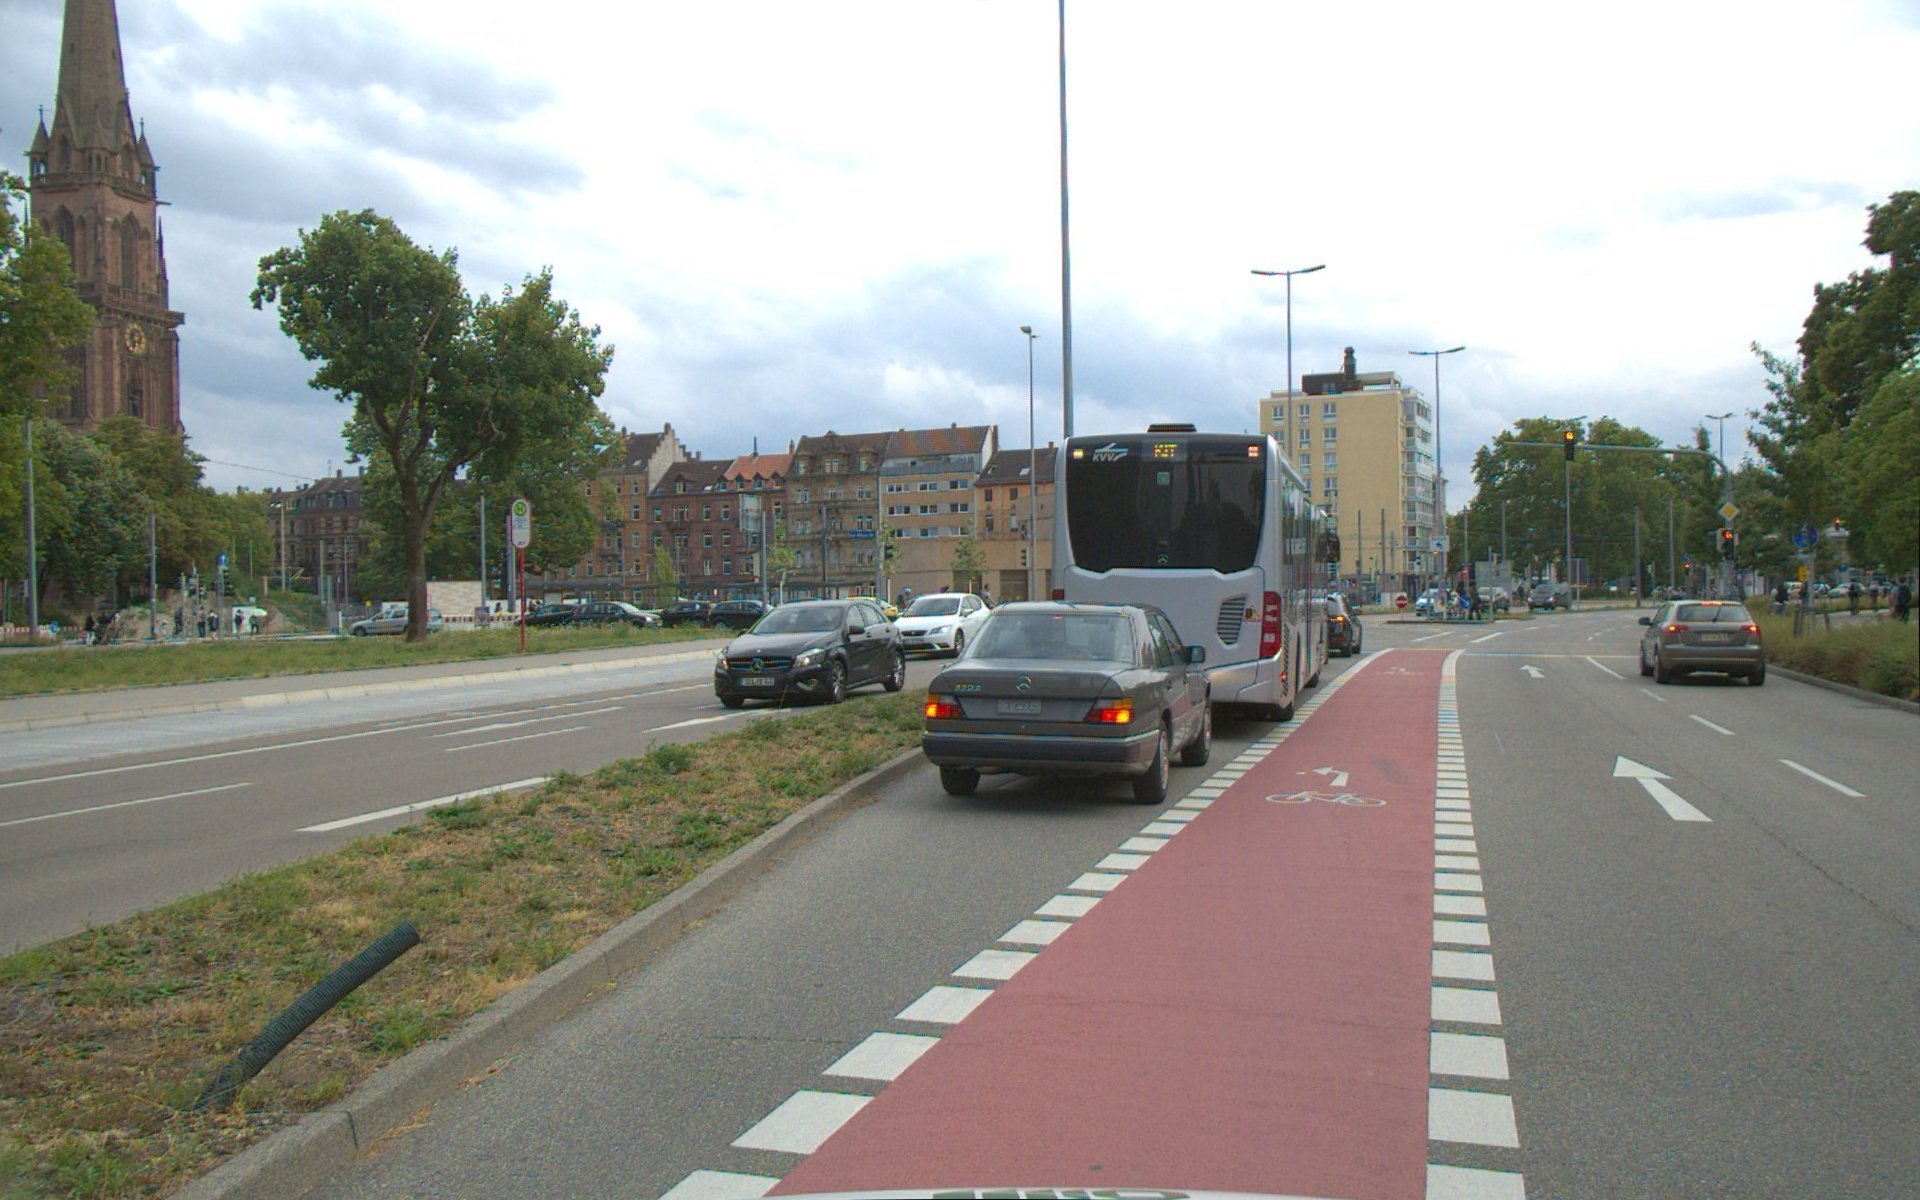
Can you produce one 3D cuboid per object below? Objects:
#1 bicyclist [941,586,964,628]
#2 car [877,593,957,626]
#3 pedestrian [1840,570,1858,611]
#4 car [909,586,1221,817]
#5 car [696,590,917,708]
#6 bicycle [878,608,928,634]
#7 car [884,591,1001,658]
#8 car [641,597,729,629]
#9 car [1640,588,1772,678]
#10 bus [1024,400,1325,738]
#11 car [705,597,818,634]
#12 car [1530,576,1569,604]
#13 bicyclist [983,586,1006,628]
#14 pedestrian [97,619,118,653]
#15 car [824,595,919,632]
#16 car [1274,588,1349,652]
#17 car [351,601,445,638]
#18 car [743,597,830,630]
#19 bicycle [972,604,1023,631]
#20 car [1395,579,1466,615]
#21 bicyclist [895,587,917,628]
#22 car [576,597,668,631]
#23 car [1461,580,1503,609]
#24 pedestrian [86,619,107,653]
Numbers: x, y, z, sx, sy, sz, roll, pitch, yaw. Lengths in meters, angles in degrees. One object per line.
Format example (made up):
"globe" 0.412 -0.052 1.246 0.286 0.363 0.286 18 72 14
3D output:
"bicyclist" -0.294 0.282 67.119 0.770 1.672 0.573 -1 0 16
"car" -1.938 0.421 75.136 3.598 1.419 1.584 0 0 -2
"pedestrian" 43.859 -0.467 81.603 0.601 2.049 0.598 -1 0 15
"car" 1.005 0.666 13.161 1.724 1.515 4.174 -1 0 14
"car" -2.138 0.655 24.360 1.717 1.515 4.380 -2 0 16
"bicycle" -2.337 0.874 68.088 1.922 0.999 0.631 -1 0 11
"car" -0.354 0.556 40.145 1.661 1.468 4.178 -2 0 16
"car" -12.769 0.589 76.837 3.683 1.419 1.586 0 0 11
"car" 13.276 0.549 29.631 1.688 1.483 3.738 -1 0 17
"bus" 3.072 -0.343 21.188 2.771 3.449 8.189 -1 0 15
"car" -8.568 0.649 71.630 4.569 1.501 1.662 1 0 11
"car" 43.714 -0.755 122.592 1.957 2.049 3.990 -1 0 32
"bicyclist" 1.399 0.291 66.408 0.769 1.672 0.614 -1 0 14
"pedestrian" -41.345 1.756 80.197 0.549 1.587 0.726 -1 1 10
"car" -3.780 0.571 70.687 3.774 1.544 1.662 0 0 11
"car" 8.399 0.441 39.339 1.619 1.421 3.863 -1 0 13
"car" -27.566 0.956 81.168 4.065 1.678 1.648 -1 0 10
"car" -7.966 0.607 75.996 3.683 1.419 1.586 0 0 11
"bicycle" 1.500 0.705 66.390 1.922 0.999 0.631 -1 0 14
"car" 29.400 -0.200 103.266 2.539 2.146 5.581 -1 0 35
"bicyclist" -2.223 0.301 68.086 0.769 1.672 0.573 -1 0 11
"car" -14.923 0.598 73.077 3.683 1.419 1.586 0 0 11
"car" 35.284 -0.369 111.663 1.773 1.883 3.991 -1 0 31
"pedestrian" -42.176 1.751 80.777 0.549 1.587 0.726 -1 1 10
